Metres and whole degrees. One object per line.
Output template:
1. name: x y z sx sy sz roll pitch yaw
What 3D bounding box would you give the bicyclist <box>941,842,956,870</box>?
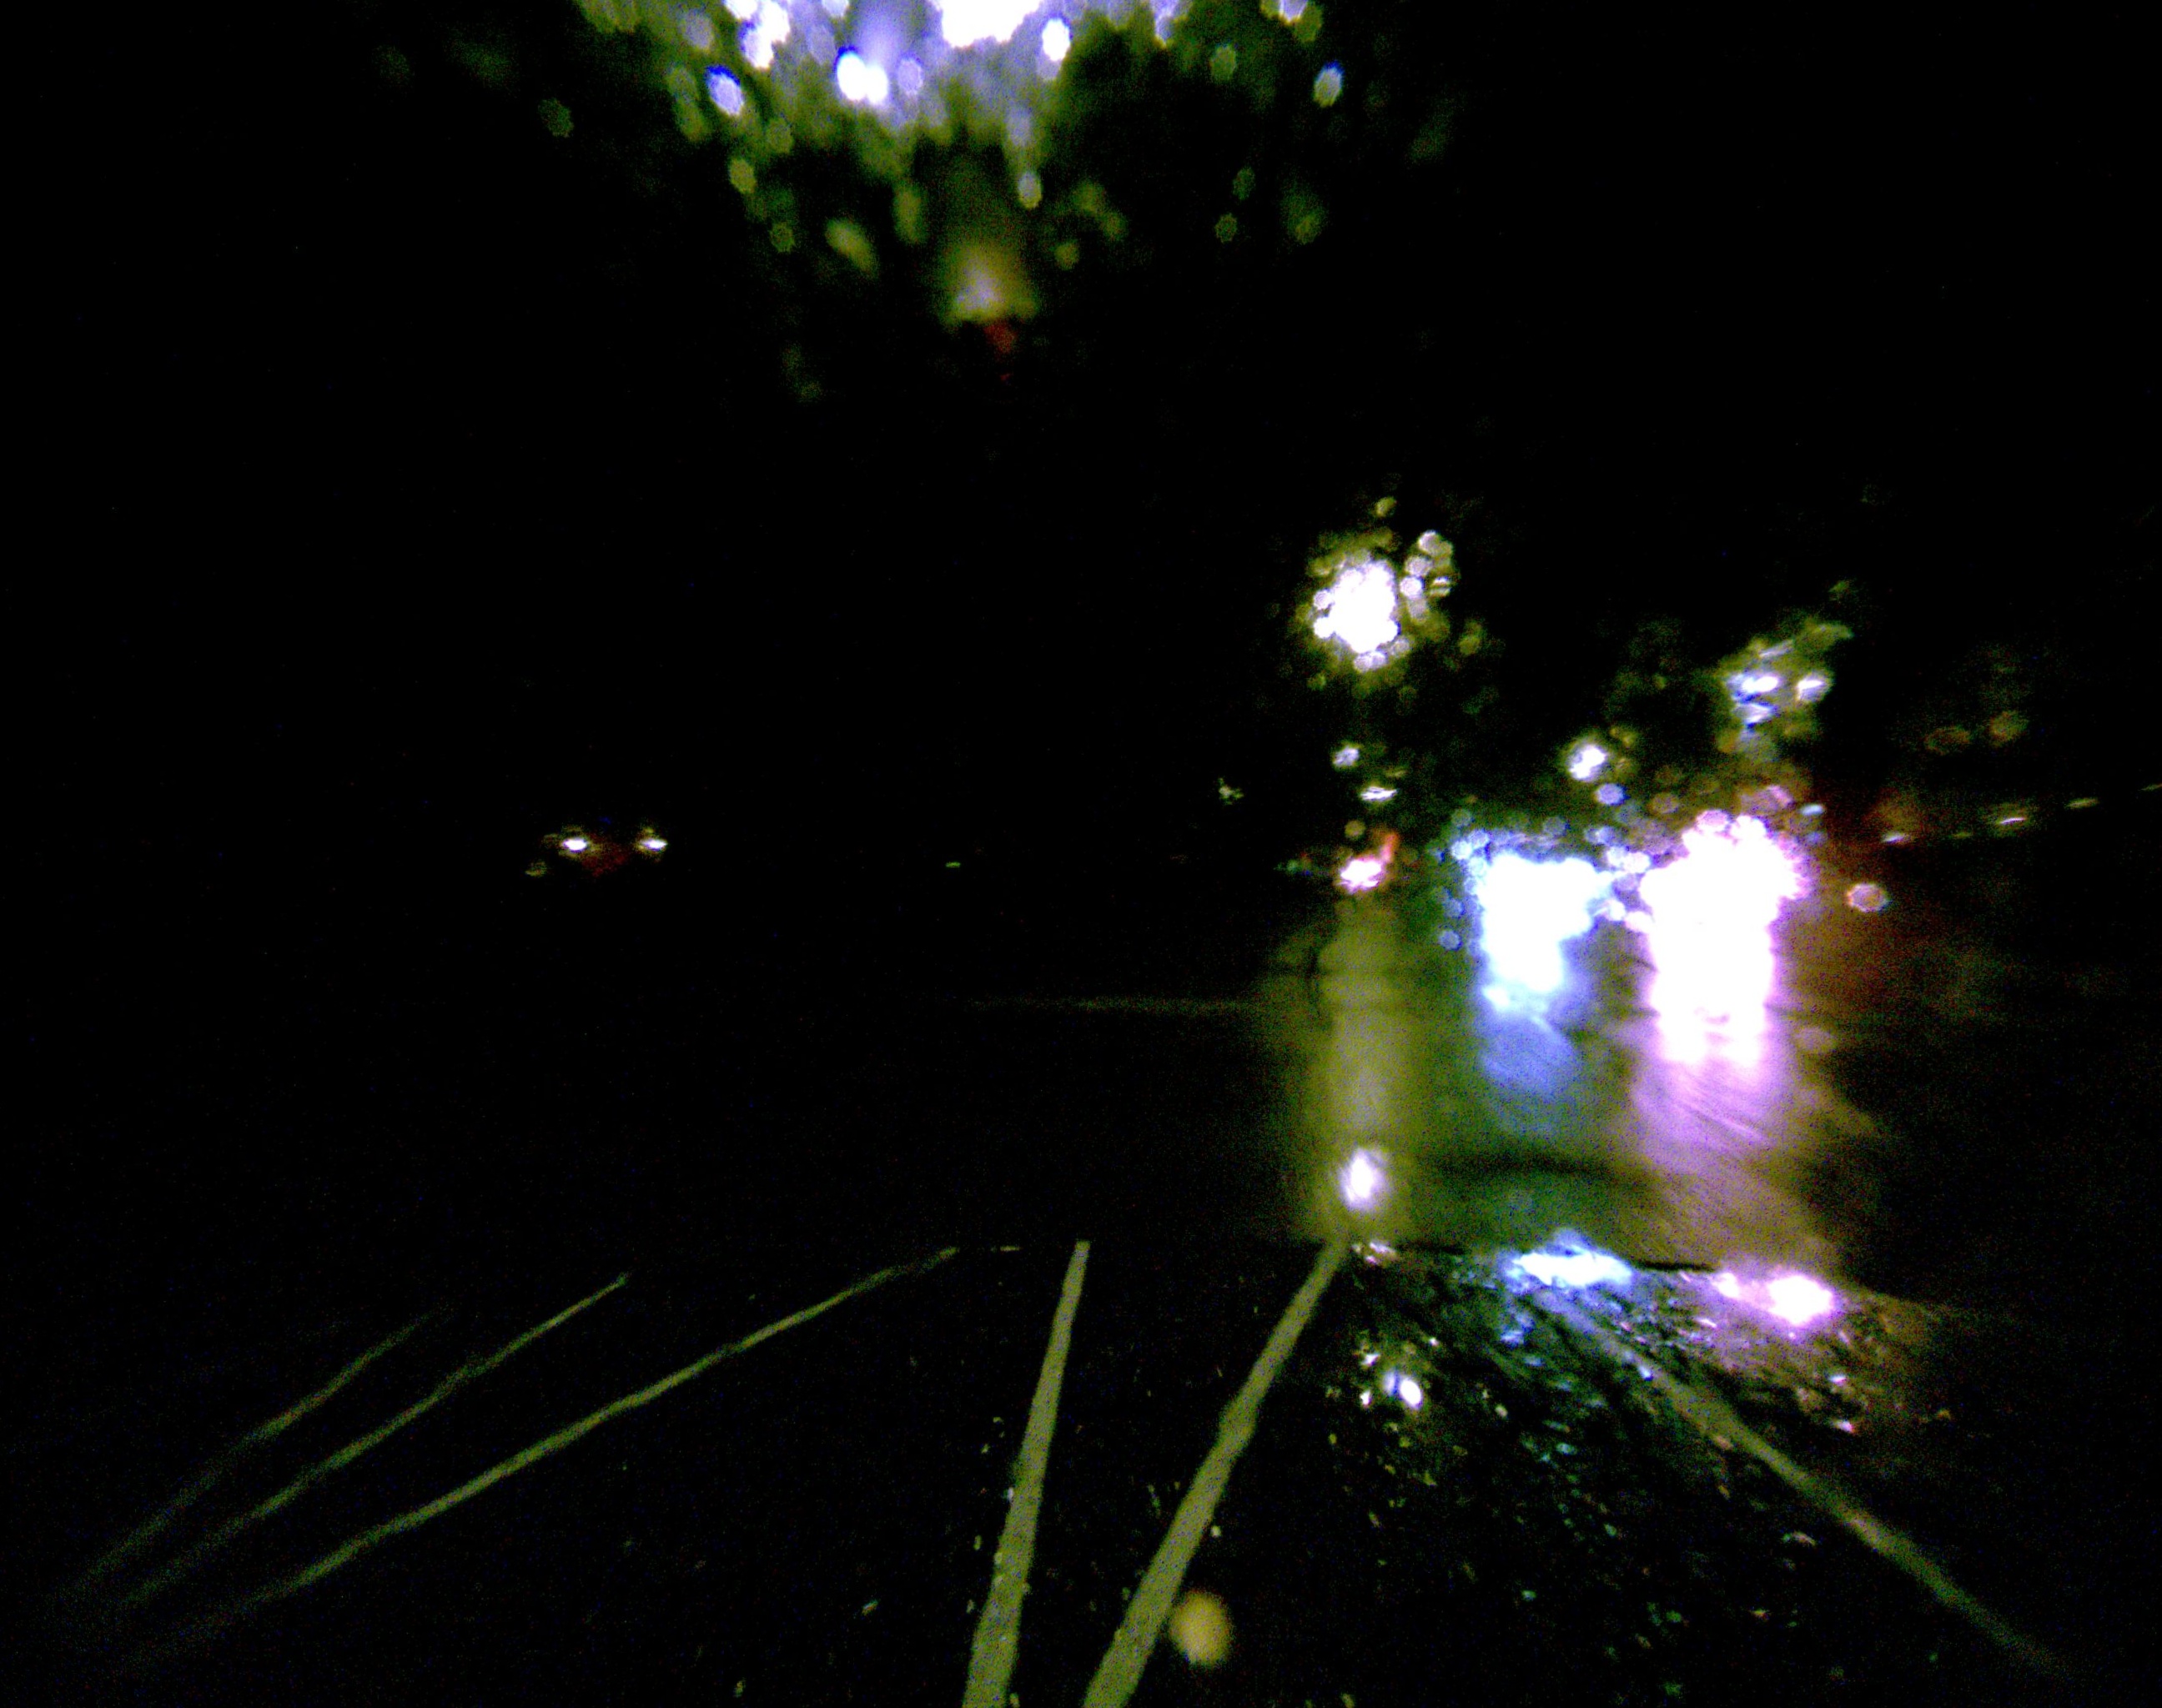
1. bicyclist: -6.835 0.118 39.188 0.605 1.439 0.617 -1 1 8

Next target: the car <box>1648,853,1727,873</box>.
1. car: 42.345 0.610 53.115 1.832 1.364 3.940 -1 0 -23

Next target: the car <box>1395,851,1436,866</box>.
1. car: 40.519 0.489 92.150 2.071 1.706 5.035 -1 0 -11

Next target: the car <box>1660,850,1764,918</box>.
1. car: 16.341 0.681 19.868 1.830 1.518 4.884 -1 0 37

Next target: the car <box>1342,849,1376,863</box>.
1. car: 34.803 0.221 95.199 2.062 1.722 5.129 -1 0 -4

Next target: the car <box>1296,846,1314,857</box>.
1. car: 35.350 -0.389 119.820 2.067 1.706 5.044 -1 0 9

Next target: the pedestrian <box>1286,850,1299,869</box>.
1. pedestrian: 16.779 0.415 60.174 0.728 1.476 0.835 -1 1 -4

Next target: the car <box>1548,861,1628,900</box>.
1. car: 24.091 1.216 36.281 1.832 1.696 4.198 -1 0 13

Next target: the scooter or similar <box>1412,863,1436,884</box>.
1. scooter or similar: 17.899 1.016 39.649 1.102 1.091 0.318 1 2 25

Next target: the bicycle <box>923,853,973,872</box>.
1. bicycle: -6.843 0.443 39.195 2.419 0.971 0.622 -1 1 6

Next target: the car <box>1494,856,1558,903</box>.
1. car: 18.057 0.971 31.015 1.947 1.709 4.450 -1 0 26

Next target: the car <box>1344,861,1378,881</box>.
1. car: 23.249 1.377 63.194 1.667 1.494 3.754 -1 0 4
